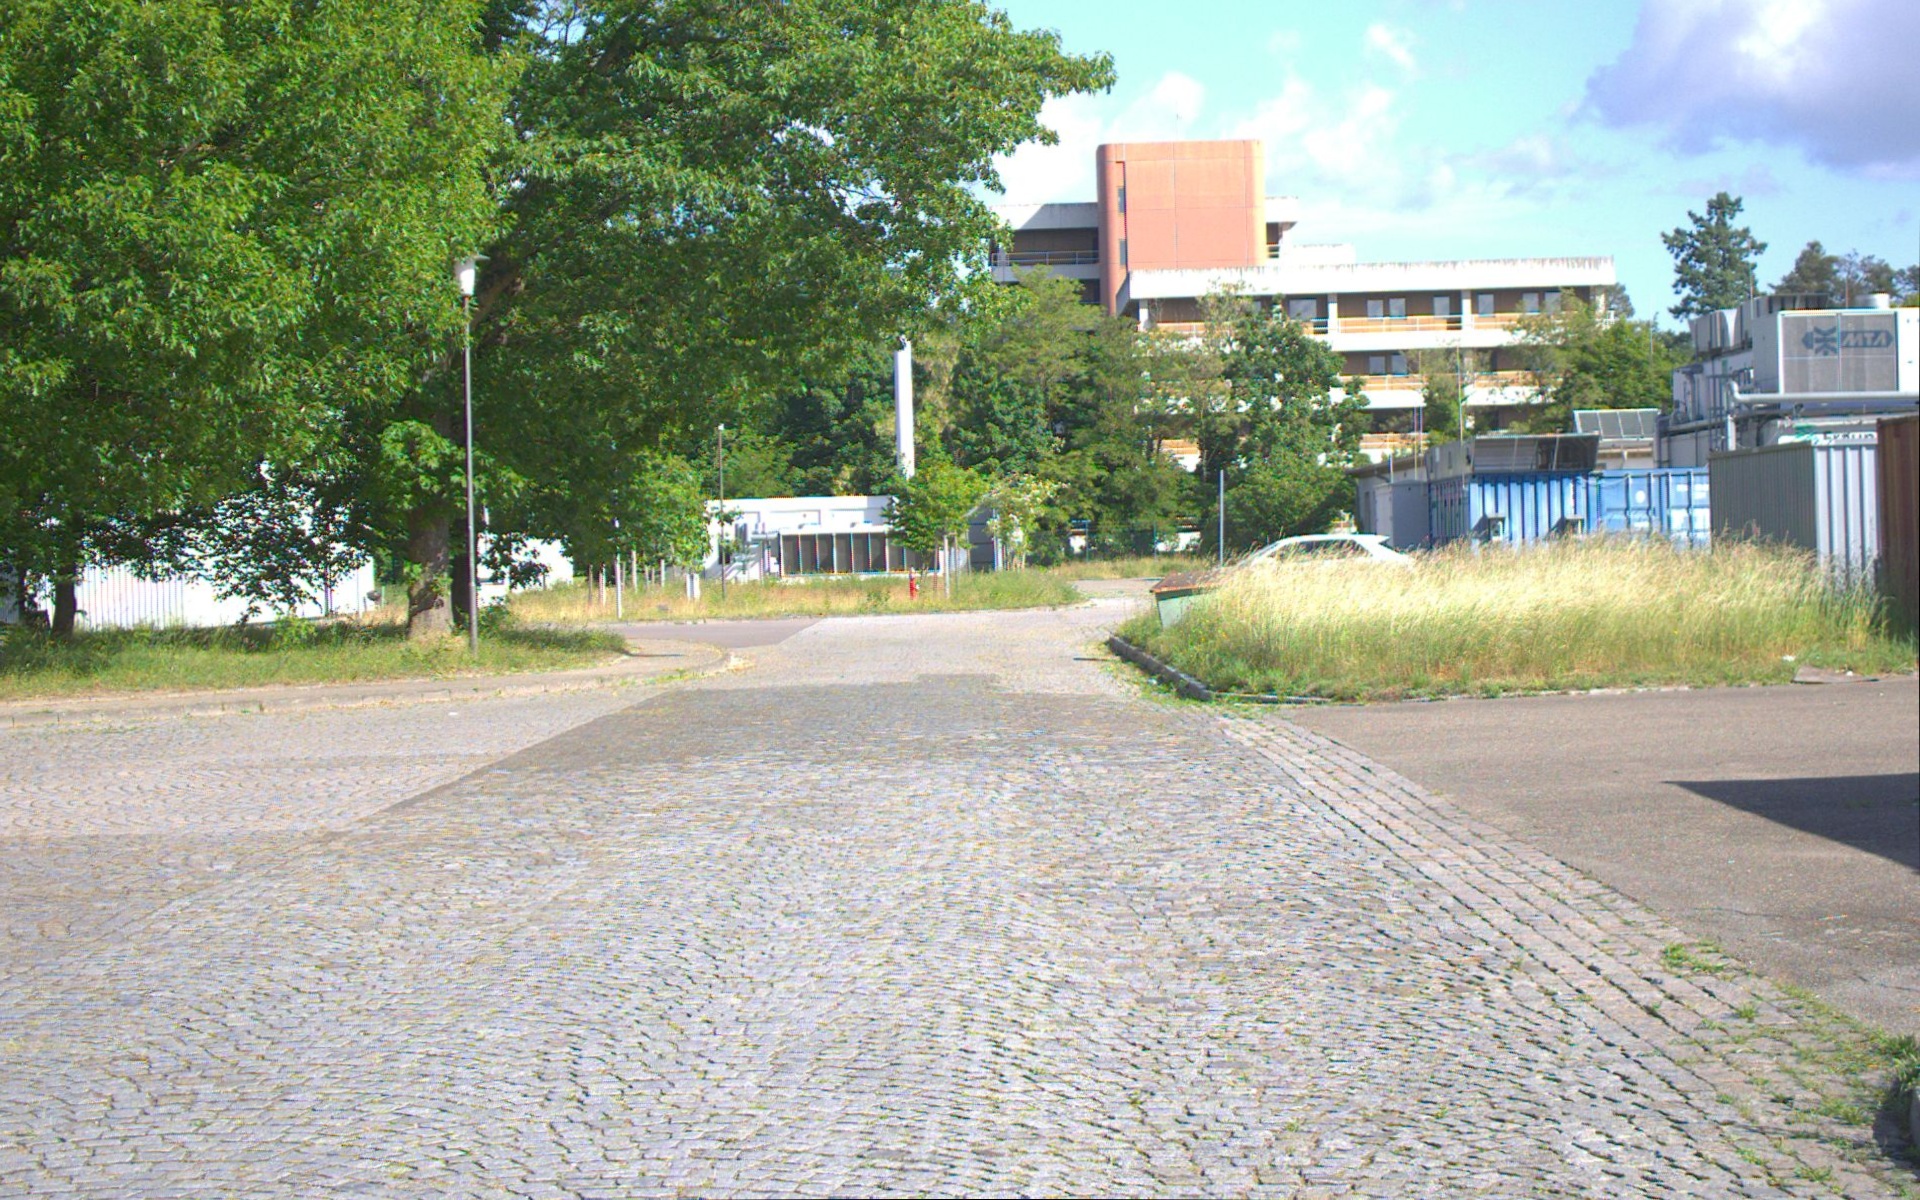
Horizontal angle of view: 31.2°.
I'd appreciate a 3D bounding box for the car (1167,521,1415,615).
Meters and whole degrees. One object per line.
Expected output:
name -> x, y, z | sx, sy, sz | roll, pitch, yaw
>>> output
car -> 6.341, -0.631, 66.156 | 4.504, 1.642, 2.000 | -2, 1, -1
